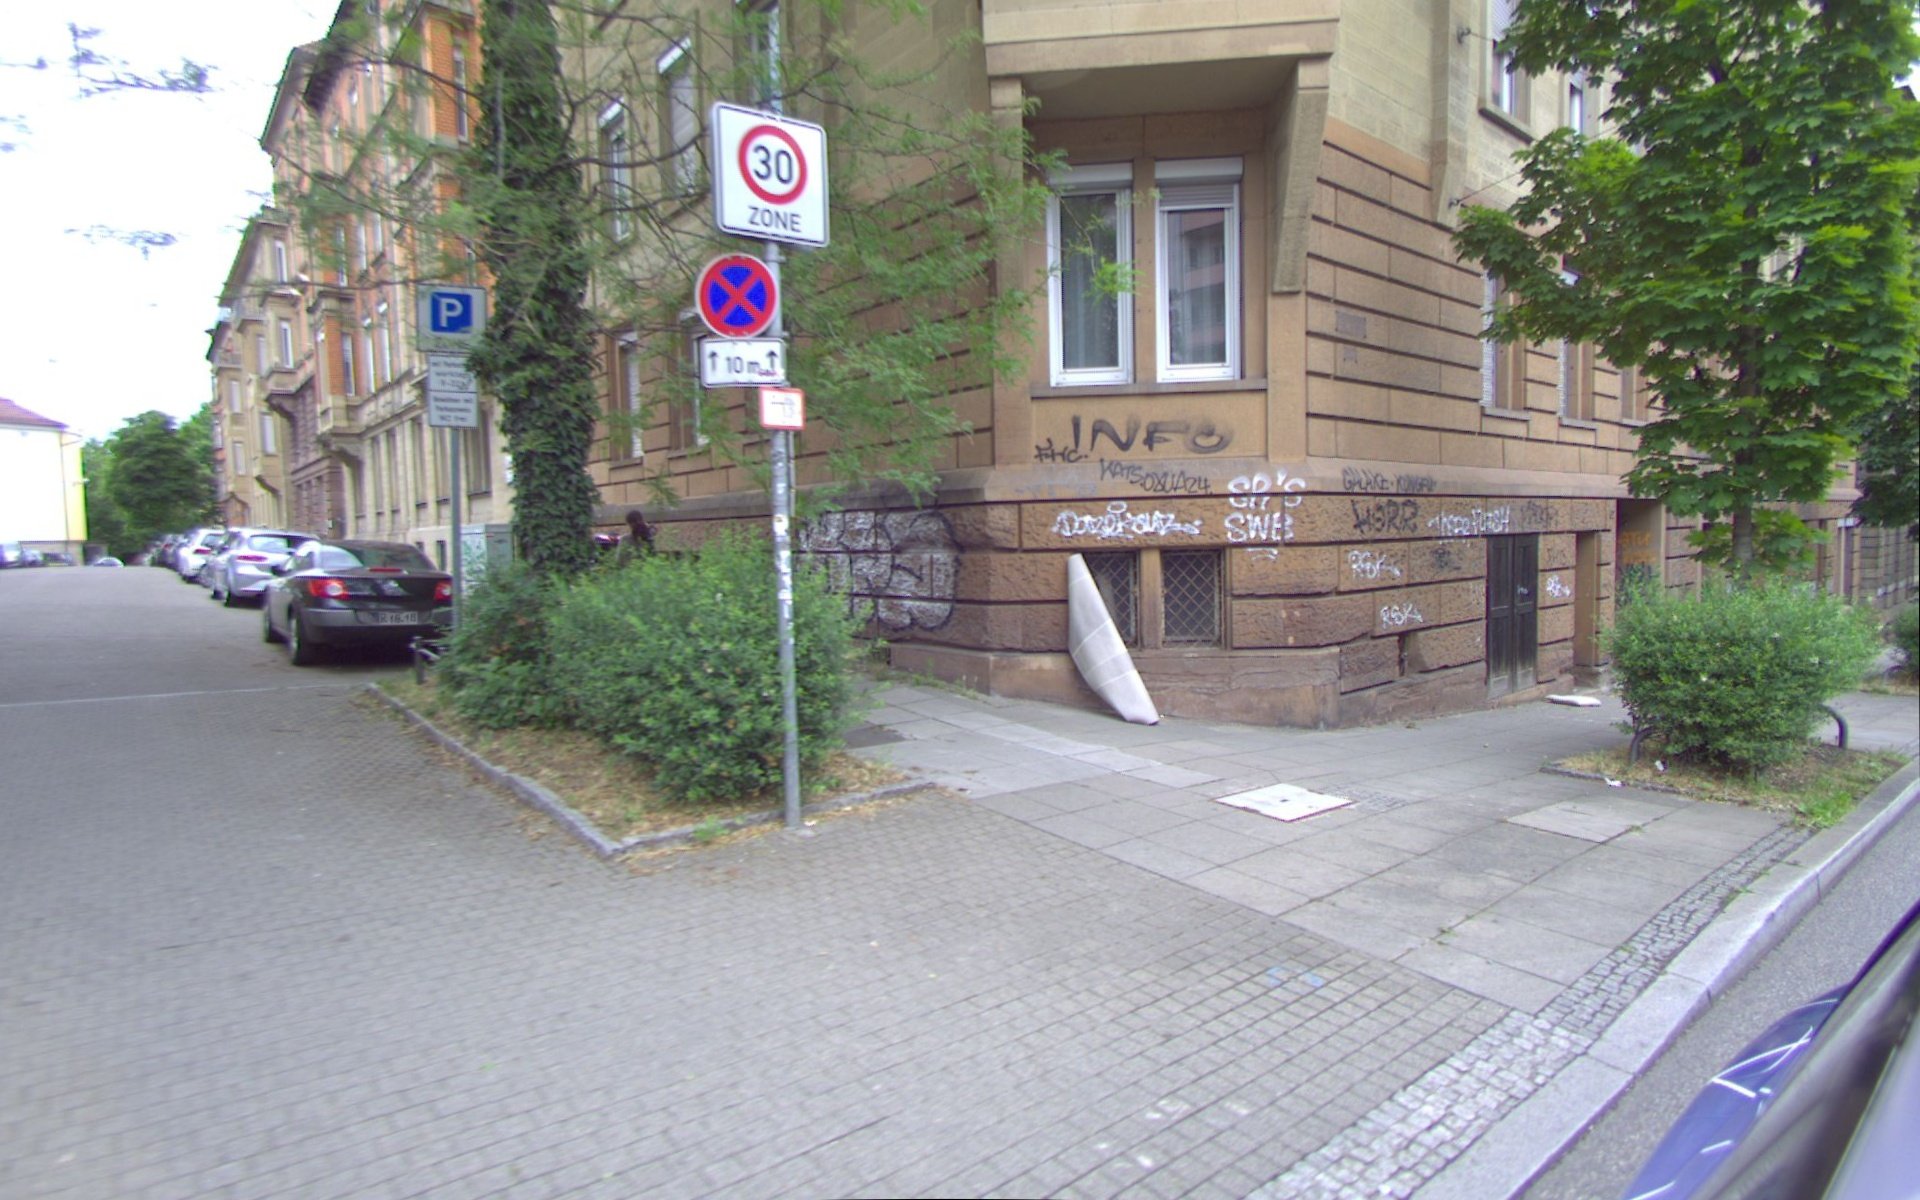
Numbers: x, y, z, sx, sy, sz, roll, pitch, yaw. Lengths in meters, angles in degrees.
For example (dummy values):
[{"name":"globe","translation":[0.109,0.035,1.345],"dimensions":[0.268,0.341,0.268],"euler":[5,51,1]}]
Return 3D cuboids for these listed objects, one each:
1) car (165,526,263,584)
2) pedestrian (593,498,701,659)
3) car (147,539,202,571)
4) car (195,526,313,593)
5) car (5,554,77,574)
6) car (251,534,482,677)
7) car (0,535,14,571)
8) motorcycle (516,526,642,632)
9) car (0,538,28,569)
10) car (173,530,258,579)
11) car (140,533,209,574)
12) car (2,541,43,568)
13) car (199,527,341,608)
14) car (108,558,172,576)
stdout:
[{"name":"car","translation":[-19.916,-1.180,26.948],"dimensions":[1.780,1.396,4.039],"euler":[0,2,-41]},{"name":"pedestrian","translation":[-3.493,-0.281,11.301],"dimensions":[0.835,1.706,0.860],"euler":[-5,7,-40]},{"name":"car","translation":[-36.561,-2.076,47.066],"dimensions":[1.780,1.396,4.039],"euler":[0,2,-41]},{"name":"car","translation":[-16.147,-0.944,23.066],"dimensions":[1.780,1.396,4.040],"euler":[0,3,-41]},{"name":"car","translation":[-75.692,-2.949,83.402],"dimensions":[1.793,1.490,4.066],"euler":[4,3,25]},{"name":"car","translation":[-7.599,-0.039,12.771],"dimensions":[1.780,1.395,4.096],"euler":[0,4,-41]},{"name":"car","translation":[-45.468,-2.249,47.227],"dimensions":[1.780,1.490,4.096],"euler":[0,4,-41]},{"name":"motorcycle","translation":[-5.808,-0.373,15.293],"dimensions":[0.824,1.452,2.925],"euler":[-4,5,-40]},{"name":"car","translation":[-51.544,-2.525,54.535],"dimensions":[1.780,1.490,4.096],"euler":[0,4,-41]},{"name":"car","translation":[-22.830,-1.405,30.975],"dimensions":[1.780,1.396,4.039],"euler":[0,3,-41]},{"name":"car","translation":[-29.075,-1.690,37.403],"dimensions":[1.780,1.396,4.038],"euler":[0,1,-41]},{"name":"car","translation":[-59.945,-2.927,64.756],"dimensions":[1.780,1.490,4.096],"euler":[0,4,-41]},{"name":"car","translation":[-13.382,-0.655,19.525],"dimensions":[1.780,1.396,4.095],"euler":[0,2,-41]},{"name":"car","translation":[-72.922,-2.915,90.004],"dimensions":[1.793,1.490,4.066],"euler":[4,3,25]}]
